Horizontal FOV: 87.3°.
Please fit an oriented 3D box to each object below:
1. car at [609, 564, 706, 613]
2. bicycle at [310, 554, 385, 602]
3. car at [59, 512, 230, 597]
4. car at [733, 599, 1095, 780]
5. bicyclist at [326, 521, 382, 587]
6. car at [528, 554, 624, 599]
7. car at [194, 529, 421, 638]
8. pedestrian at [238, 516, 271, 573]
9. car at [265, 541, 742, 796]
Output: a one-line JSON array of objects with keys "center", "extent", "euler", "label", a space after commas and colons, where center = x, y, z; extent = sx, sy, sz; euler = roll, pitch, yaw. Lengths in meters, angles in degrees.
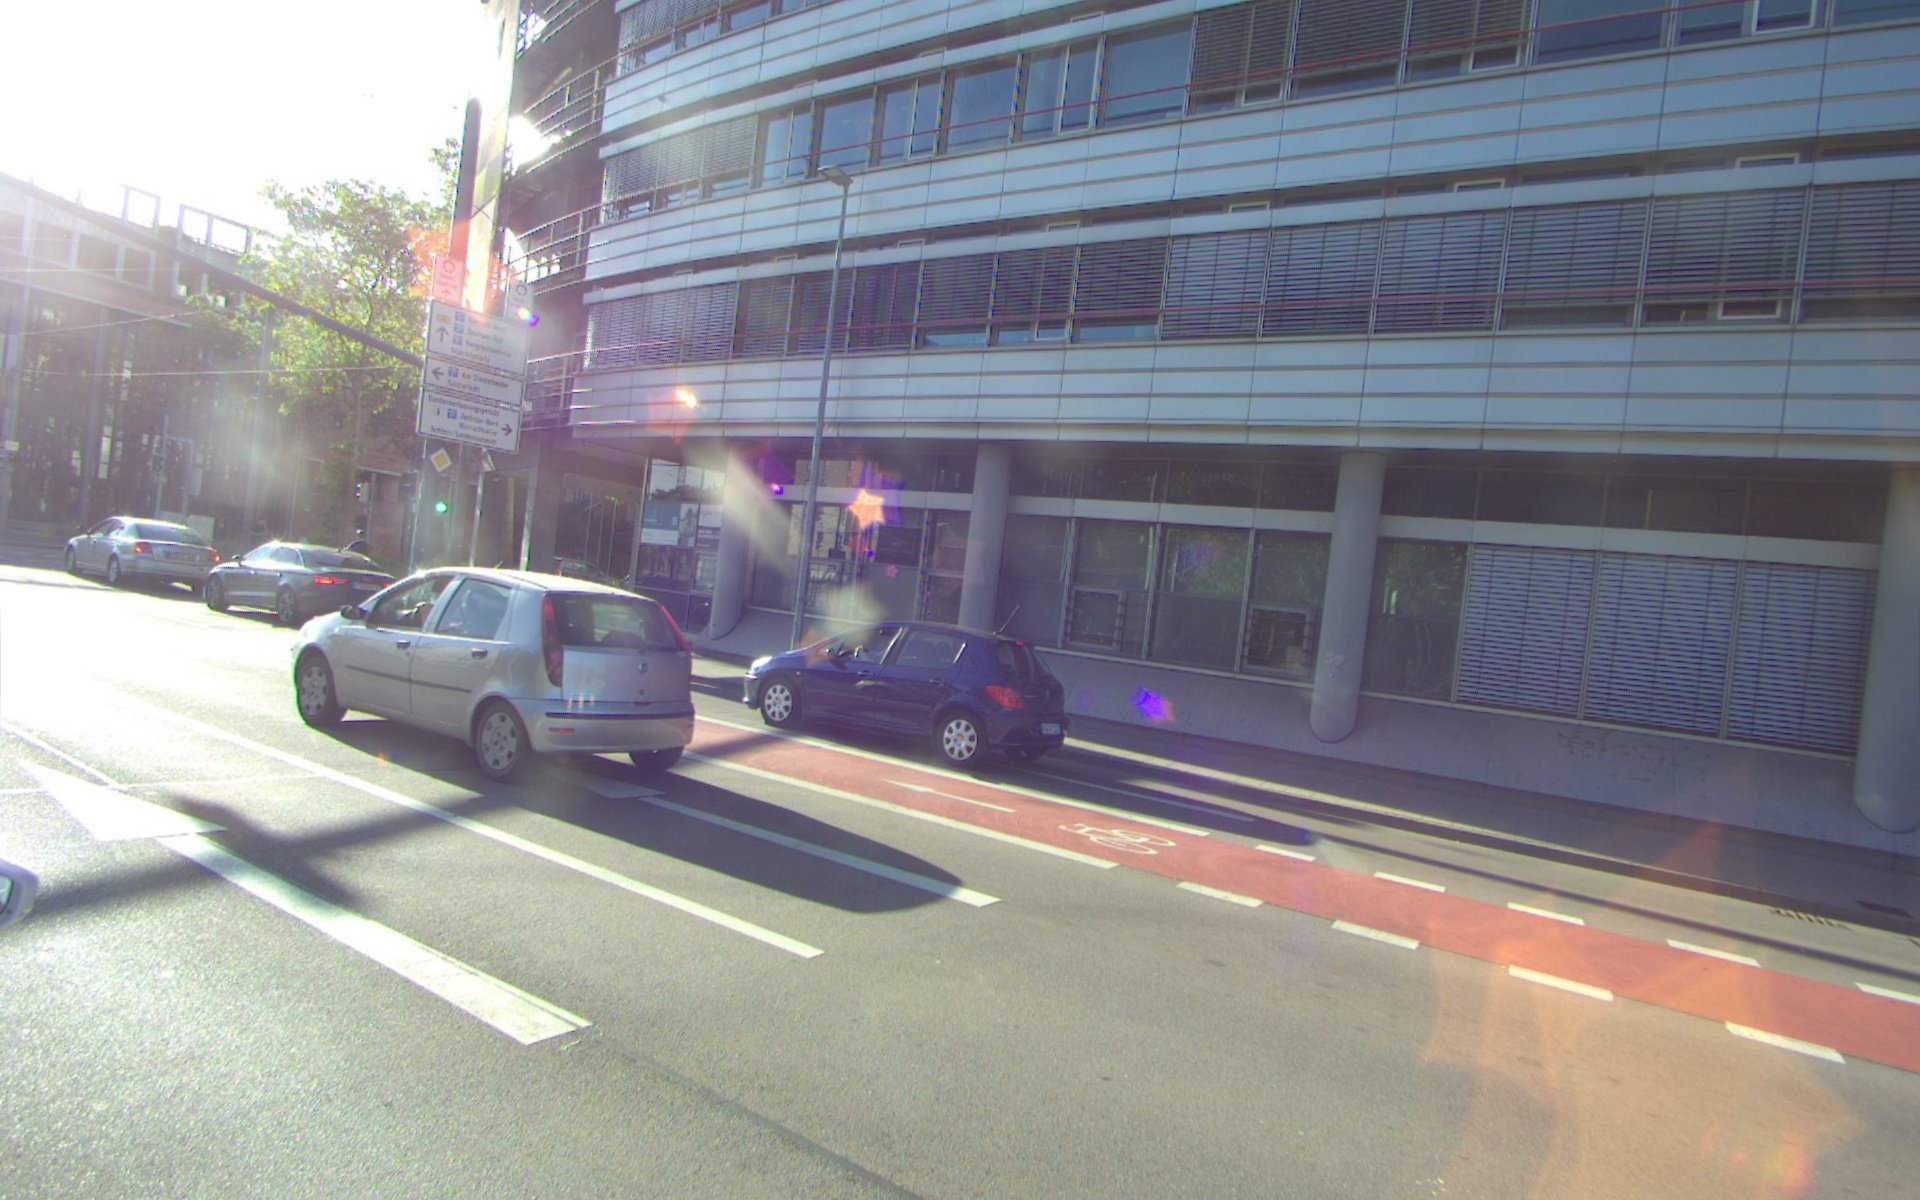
[{"center": [-13.452, -0.480, 45.009], "extent": [1.832, 1.670, 4.000], "euler": [7, -2, 24], "label": "car"}, {"center": [-16.224, -0.584, 26.619], "extent": [2.166, 1.045, 0.500], "euler": [7, 1, 25], "label": "bicycle"}, {"center": [-18.524, -1.055, 22.789], "extent": [4.417, 1.448, 1.752], "euler": [7, 0, 35], "label": "car"}, {"center": [-0.606, 0.994, 12.098], "extent": [3.934, 1.463, 1.734], "euler": [7, -1, 32], "label": "car"}, {"center": [-15.999, -1.216, 26.570], "extent": [1.025, 1.585, 0.626], "euler": [7, -1, 25], "label": "bicyclist"}, {"center": [-18.057, -1.071, 47.491], "extent": [1.662, 1.648, 4.464], "euler": [7, -1, 18], "label": "car"}, {"center": [-11.940, -0.313, 18.366], "extent": [4.041, 1.458, 1.714], "euler": [7, -1, 30], "label": "car"}, {"center": [-23.236, -1.823, 33.144], "extent": [0.701, 1.781, 0.556], "euler": [6, 1, -33], "label": "pedestrian"}, {"center": [-3.806, 0.470, 8.261], "extent": [3.704, 1.446, 1.620], "euler": [6, -2, 31], "label": "car"}]
